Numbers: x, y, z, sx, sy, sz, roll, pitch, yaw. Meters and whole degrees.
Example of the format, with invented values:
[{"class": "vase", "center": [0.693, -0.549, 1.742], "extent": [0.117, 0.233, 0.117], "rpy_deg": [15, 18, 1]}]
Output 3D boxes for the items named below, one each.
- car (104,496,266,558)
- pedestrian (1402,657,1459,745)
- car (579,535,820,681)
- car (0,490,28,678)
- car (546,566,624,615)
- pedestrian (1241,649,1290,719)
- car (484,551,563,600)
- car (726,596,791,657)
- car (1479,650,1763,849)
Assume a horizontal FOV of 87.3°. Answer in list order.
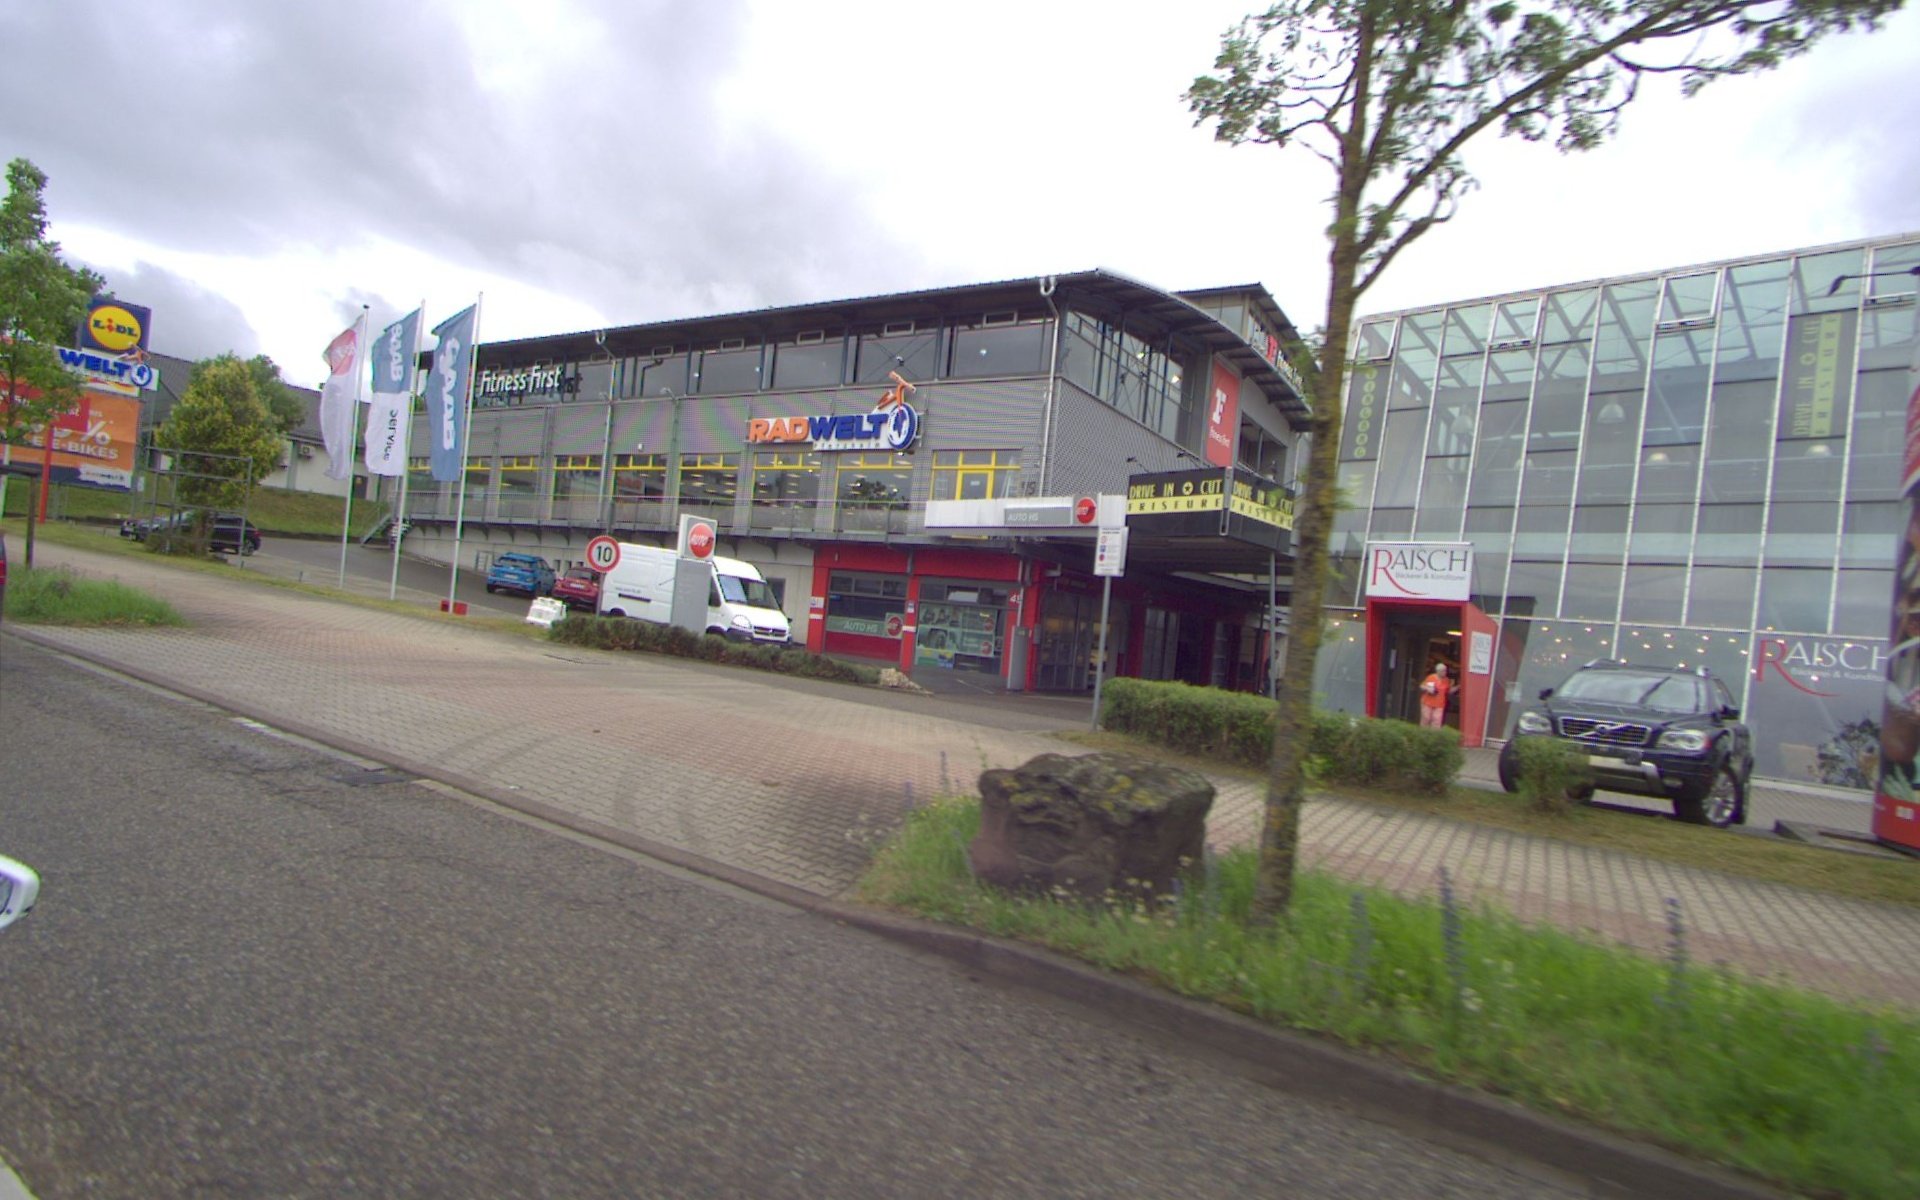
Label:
[{"class": "car", "center": [-27.194, -2.516, 35.467], "extent": [1.763, 1.456, 4.105], "rpy_deg": [9, 0, 20]}, {"class": "pedestrian", "center": [10.065, 2.154, 21.530], "extent": [0.679, 1.780, 0.743], "rpy_deg": [7, -1, -38]}, {"class": "car", "center": [-6.393, 0.146, 24.370], "extent": [5.589, 2.566, 2.230], "rpy_deg": [9, -1, 35]}, {"class": "car", "center": [-10.319, -0.441, 9.037], "extent": [4.148, 1.599, 1.689], "rpy_deg": [8, -1, 32]}, {"class": "car", "center": [-14.032, -0.361, 37.896], "extent": [1.710, 1.520, 3.868], "rpy_deg": [9, 0, -7]}, {"class": "pedestrian", "center": [8.408, 2.303, 27.682], "extent": [0.855, 1.798, 0.803], "rpy_deg": [7, -2, -39]}, {"class": "car", "center": [-17.027, -0.943, 39.415], "extent": [1.711, 1.578, 3.904], "rpy_deg": [9, 0, -9]}, {"class": "car", "center": [-6.605, 0.811, 32.790], "extent": [1.756, 1.488, 4.248], "rpy_deg": [9, 0, -13]}, {"class": "car", "center": [7.778, 1.525, 11.619], "extent": [1.900, 1.622, 4.643], "rpy_deg": [7, 2, 42]}]
